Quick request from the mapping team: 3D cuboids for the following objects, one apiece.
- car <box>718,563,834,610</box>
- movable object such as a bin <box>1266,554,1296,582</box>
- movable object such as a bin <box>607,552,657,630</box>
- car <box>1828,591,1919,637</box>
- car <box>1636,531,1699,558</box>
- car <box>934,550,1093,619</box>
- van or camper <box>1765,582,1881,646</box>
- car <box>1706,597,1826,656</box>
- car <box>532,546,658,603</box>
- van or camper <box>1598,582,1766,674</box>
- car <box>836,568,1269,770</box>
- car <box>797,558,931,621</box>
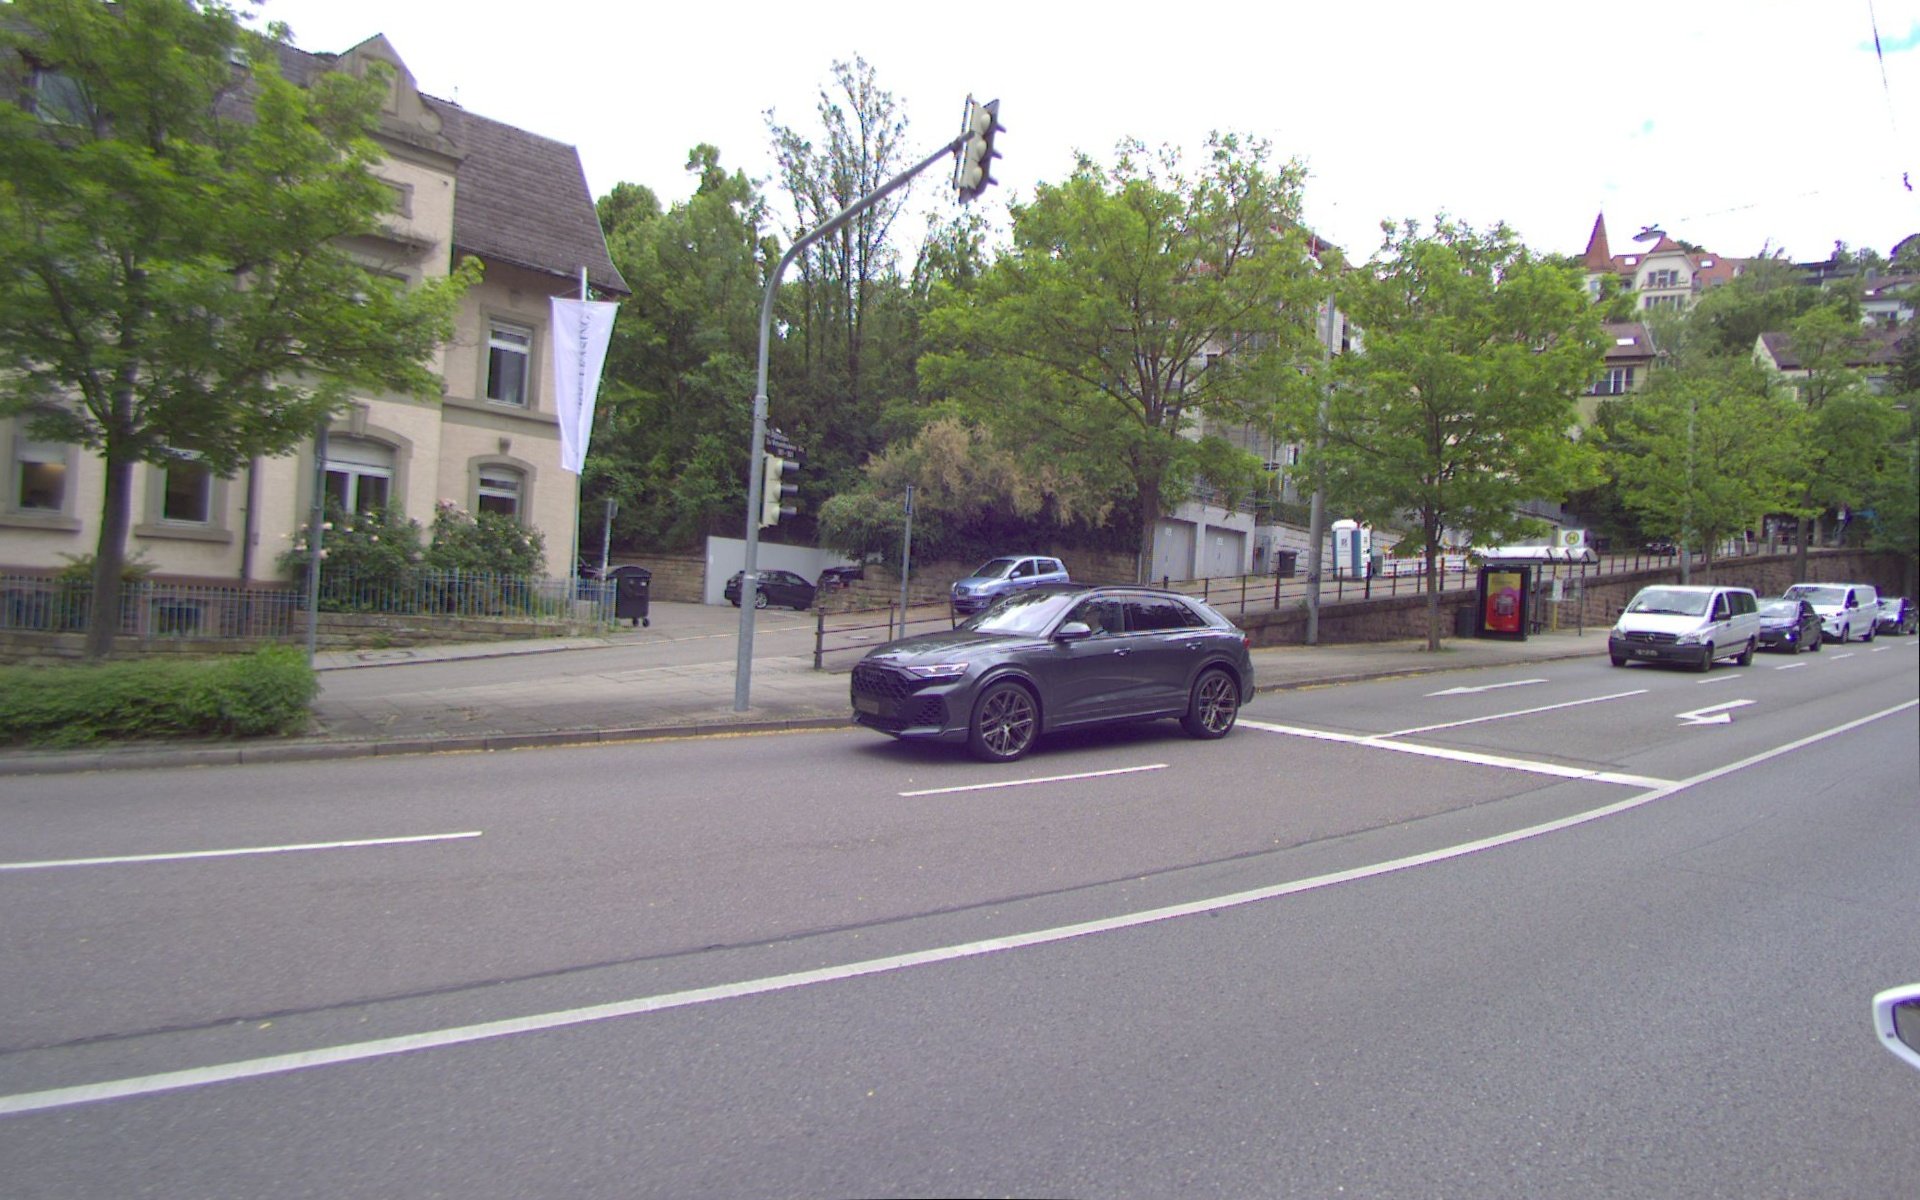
[{"bbox_3d":[-6.755,-0.442,37.013,3.782,1.584,1.821,1,-1,-37],"label":"car"},{"bbox_3d":[12.503,-1.249,39.134,0.833,1.056,0.797,1,1,-45],"label":"movable object such as a bin"},{"bbox_3d":[-7.683,-0.221,23.495,0.983,1.707,1.212,1,5,-24],"label":"movable object such as a bin"},{"bbox_3d":[37.573,0.541,41.169,4.285,1.640,1.980,-1,5,-35],"label":"car"},{"bbox_3d":[40.287,-3.138,57.198,3.554,1.296,1.545,1,0,-28],"label":"car"},{"bbox_3d":[1.474,-0.480,27.234,3.960,1.595,1.980,-4,6,-35],"label":"car"},{"bbox_3d":[30.409,0.461,35.334,5.511,2.041,1.978,1,2,-38],"label":"van or camper"},{"bbox_3d":[24.052,0.745,29.938,3.957,1.541,1.977,0,3,-40],"label":"car"},{"bbox_3d":[-13.157,-0.860,36.236,3.922,1.862,2.000,-1,-2,21],"label":"car"},{"bbox_3d":[17.319,0.609,23.967,5.413,1.921,1.976,1,2,-41],"label":"van or camper"},{"bbox_3d":[1.153,0.674,11.164,4.710,1.815,1.884,1,-2,-35],"label":"car"},{"bbox_3d":[-2.930,-0.264,31.198,1.968,1.795,3.985,-1,-2,37],"label":"car"}]
